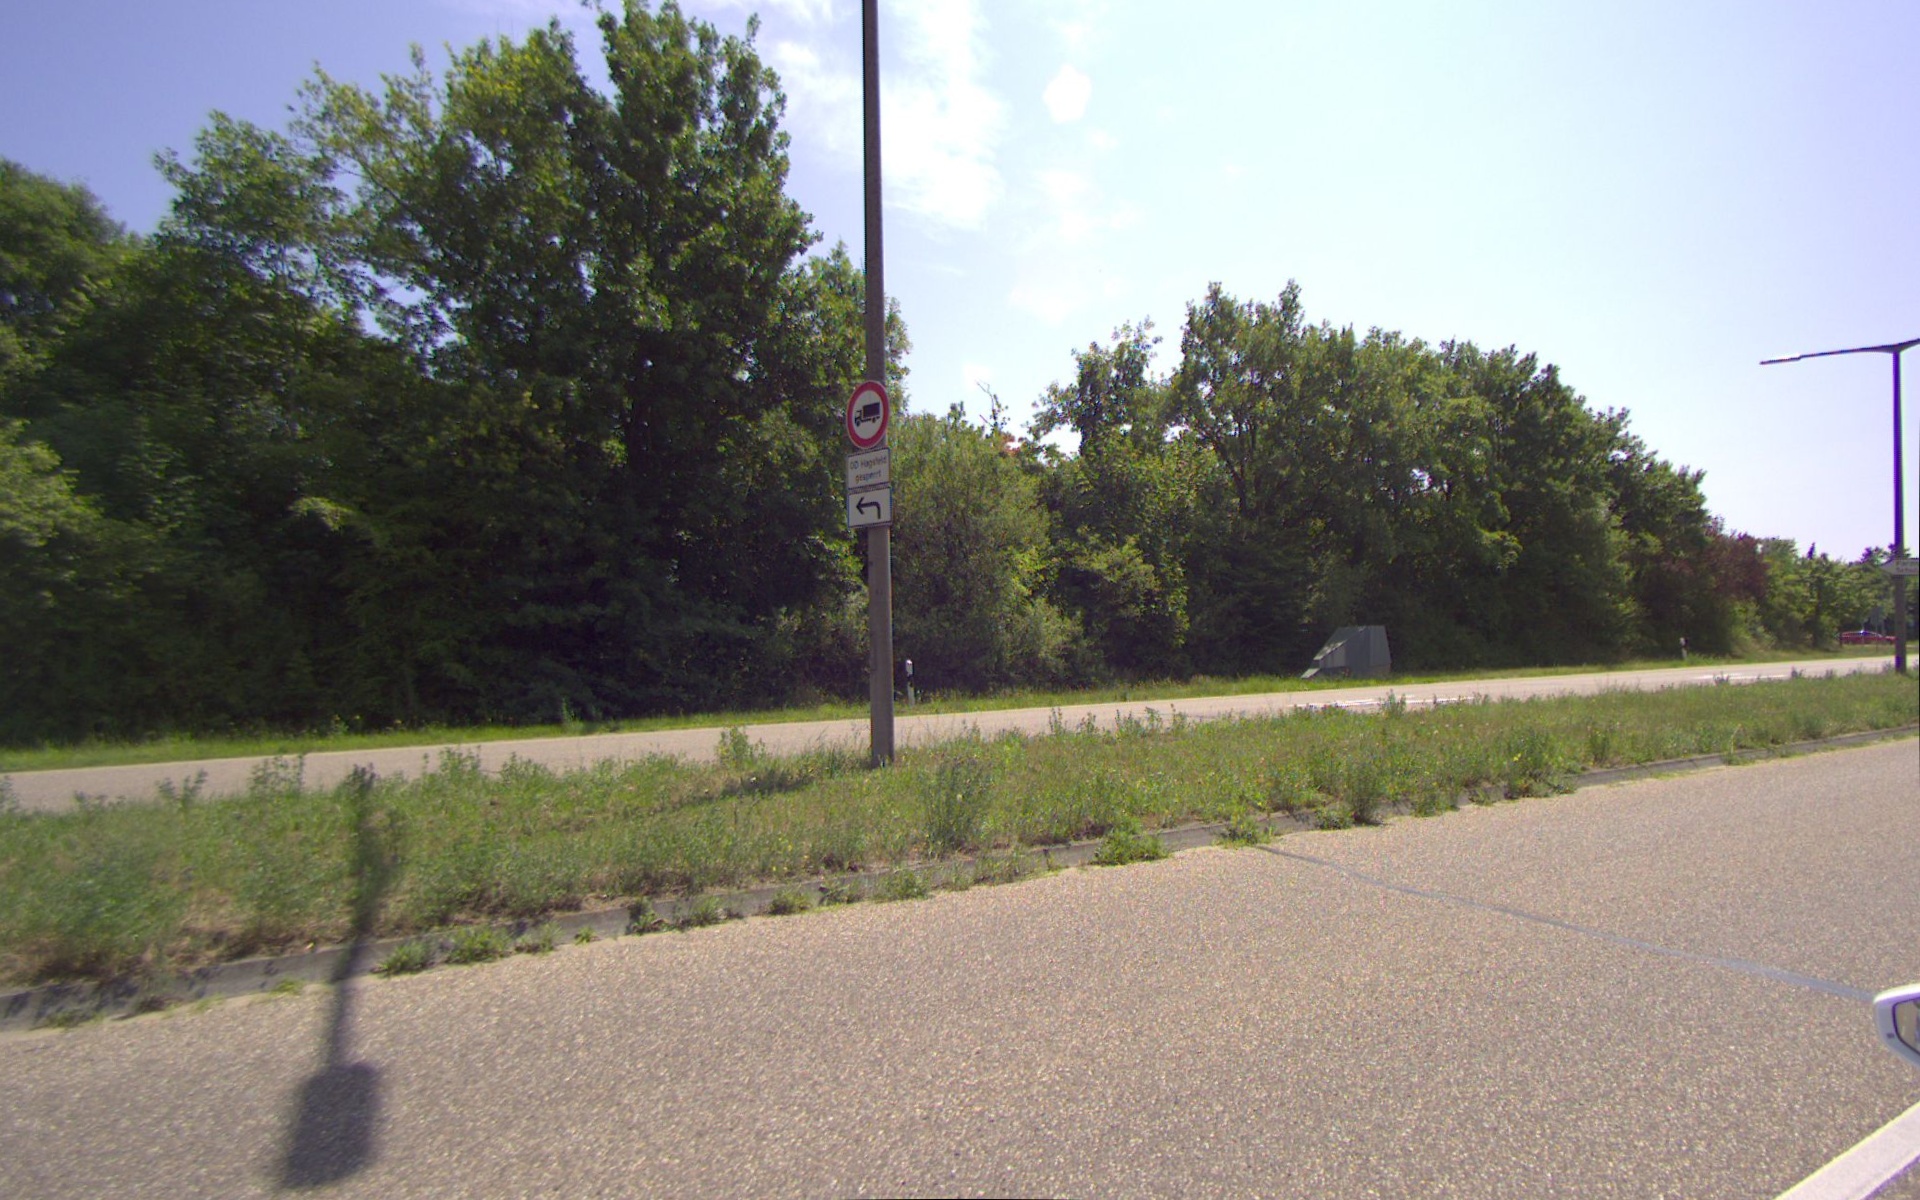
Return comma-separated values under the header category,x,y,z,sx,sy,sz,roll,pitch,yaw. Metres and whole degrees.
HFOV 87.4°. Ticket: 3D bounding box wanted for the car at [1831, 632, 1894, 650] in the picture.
category,x,y,z,sx,sy,sz,roll,pitch,yaw
car,89.739,4.029,99.937,1.963,1.663,4.482,1,-1,-42
